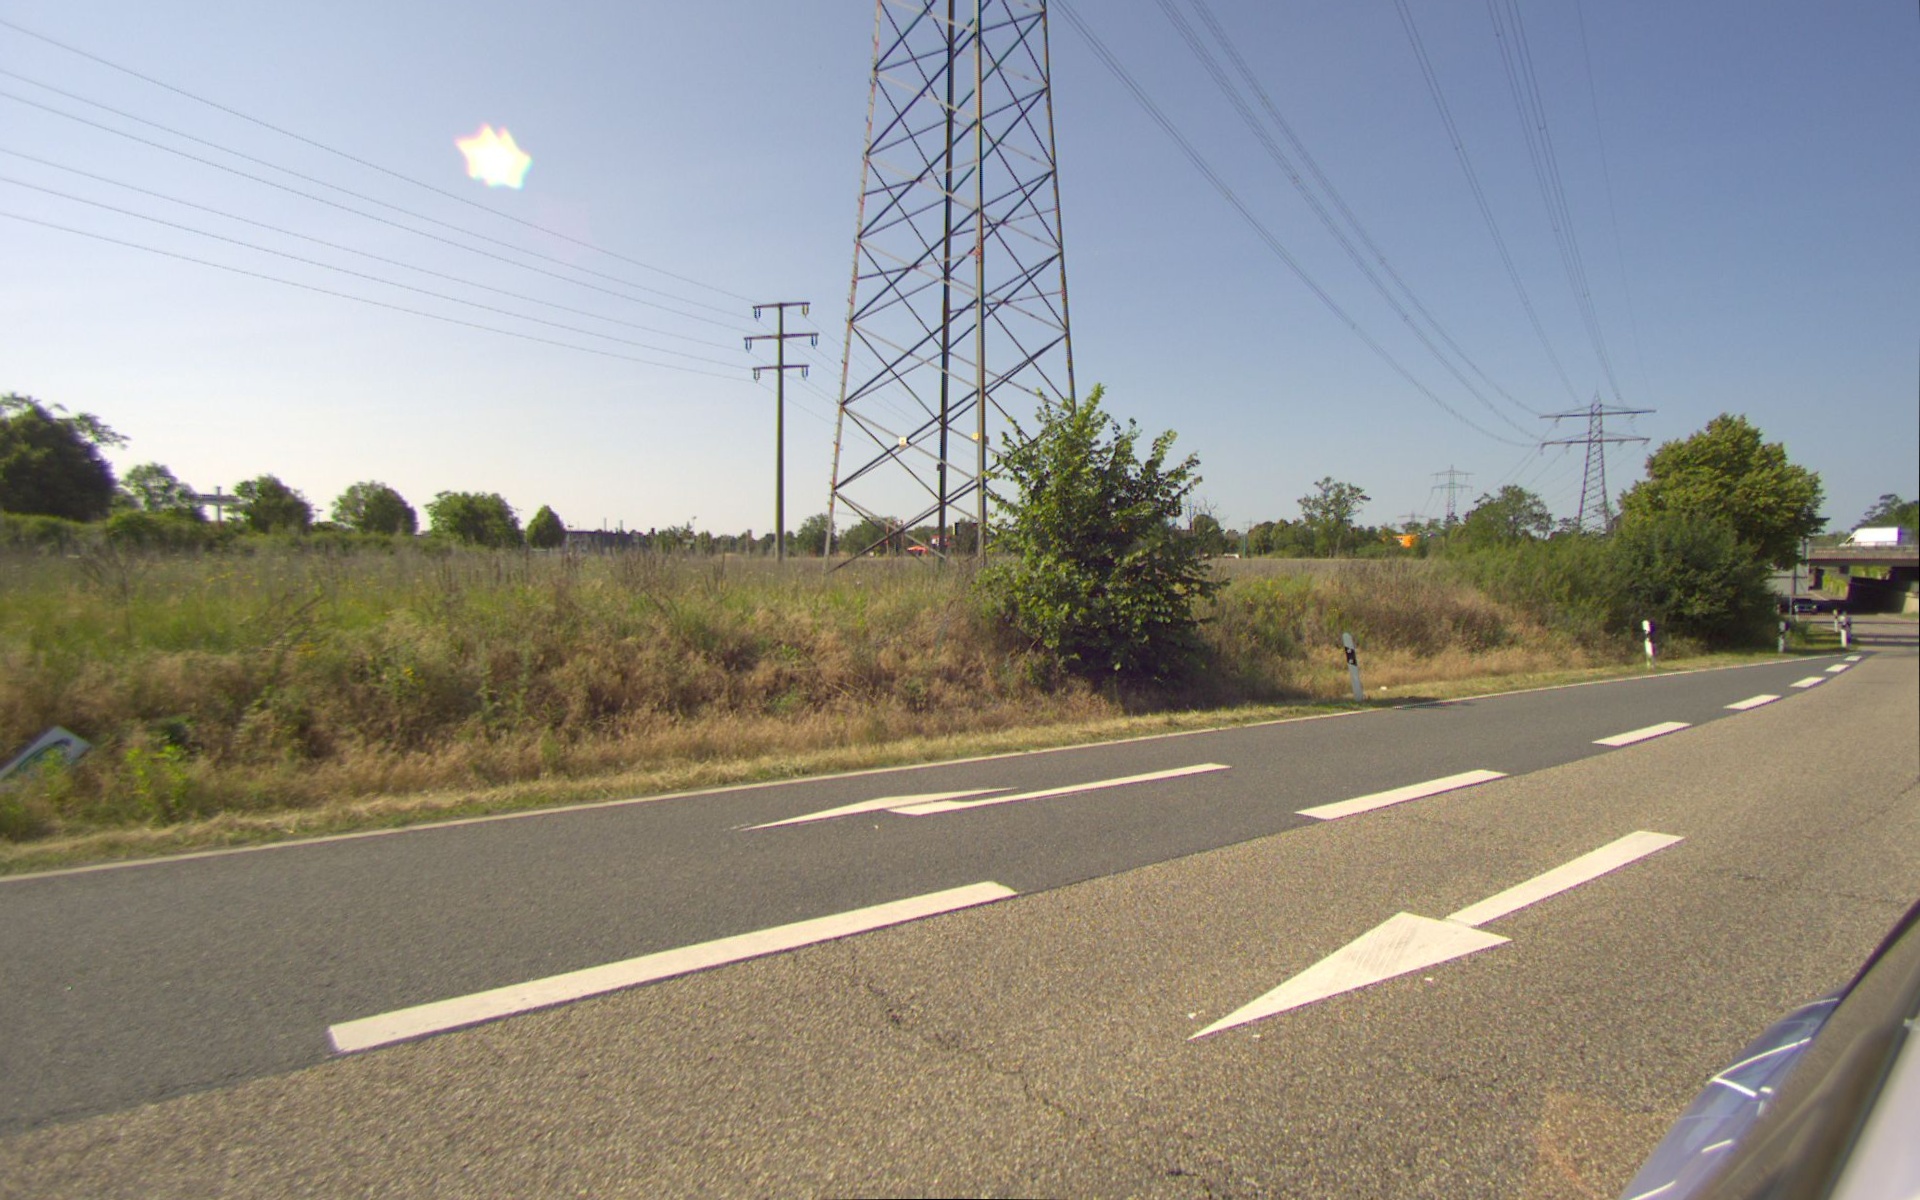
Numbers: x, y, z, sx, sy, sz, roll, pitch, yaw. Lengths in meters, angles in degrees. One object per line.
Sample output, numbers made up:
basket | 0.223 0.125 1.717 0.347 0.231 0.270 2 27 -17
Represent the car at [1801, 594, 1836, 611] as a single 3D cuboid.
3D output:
car | 85.276 0.259 100.541 1.843 1.639 3.613 1 0 27
